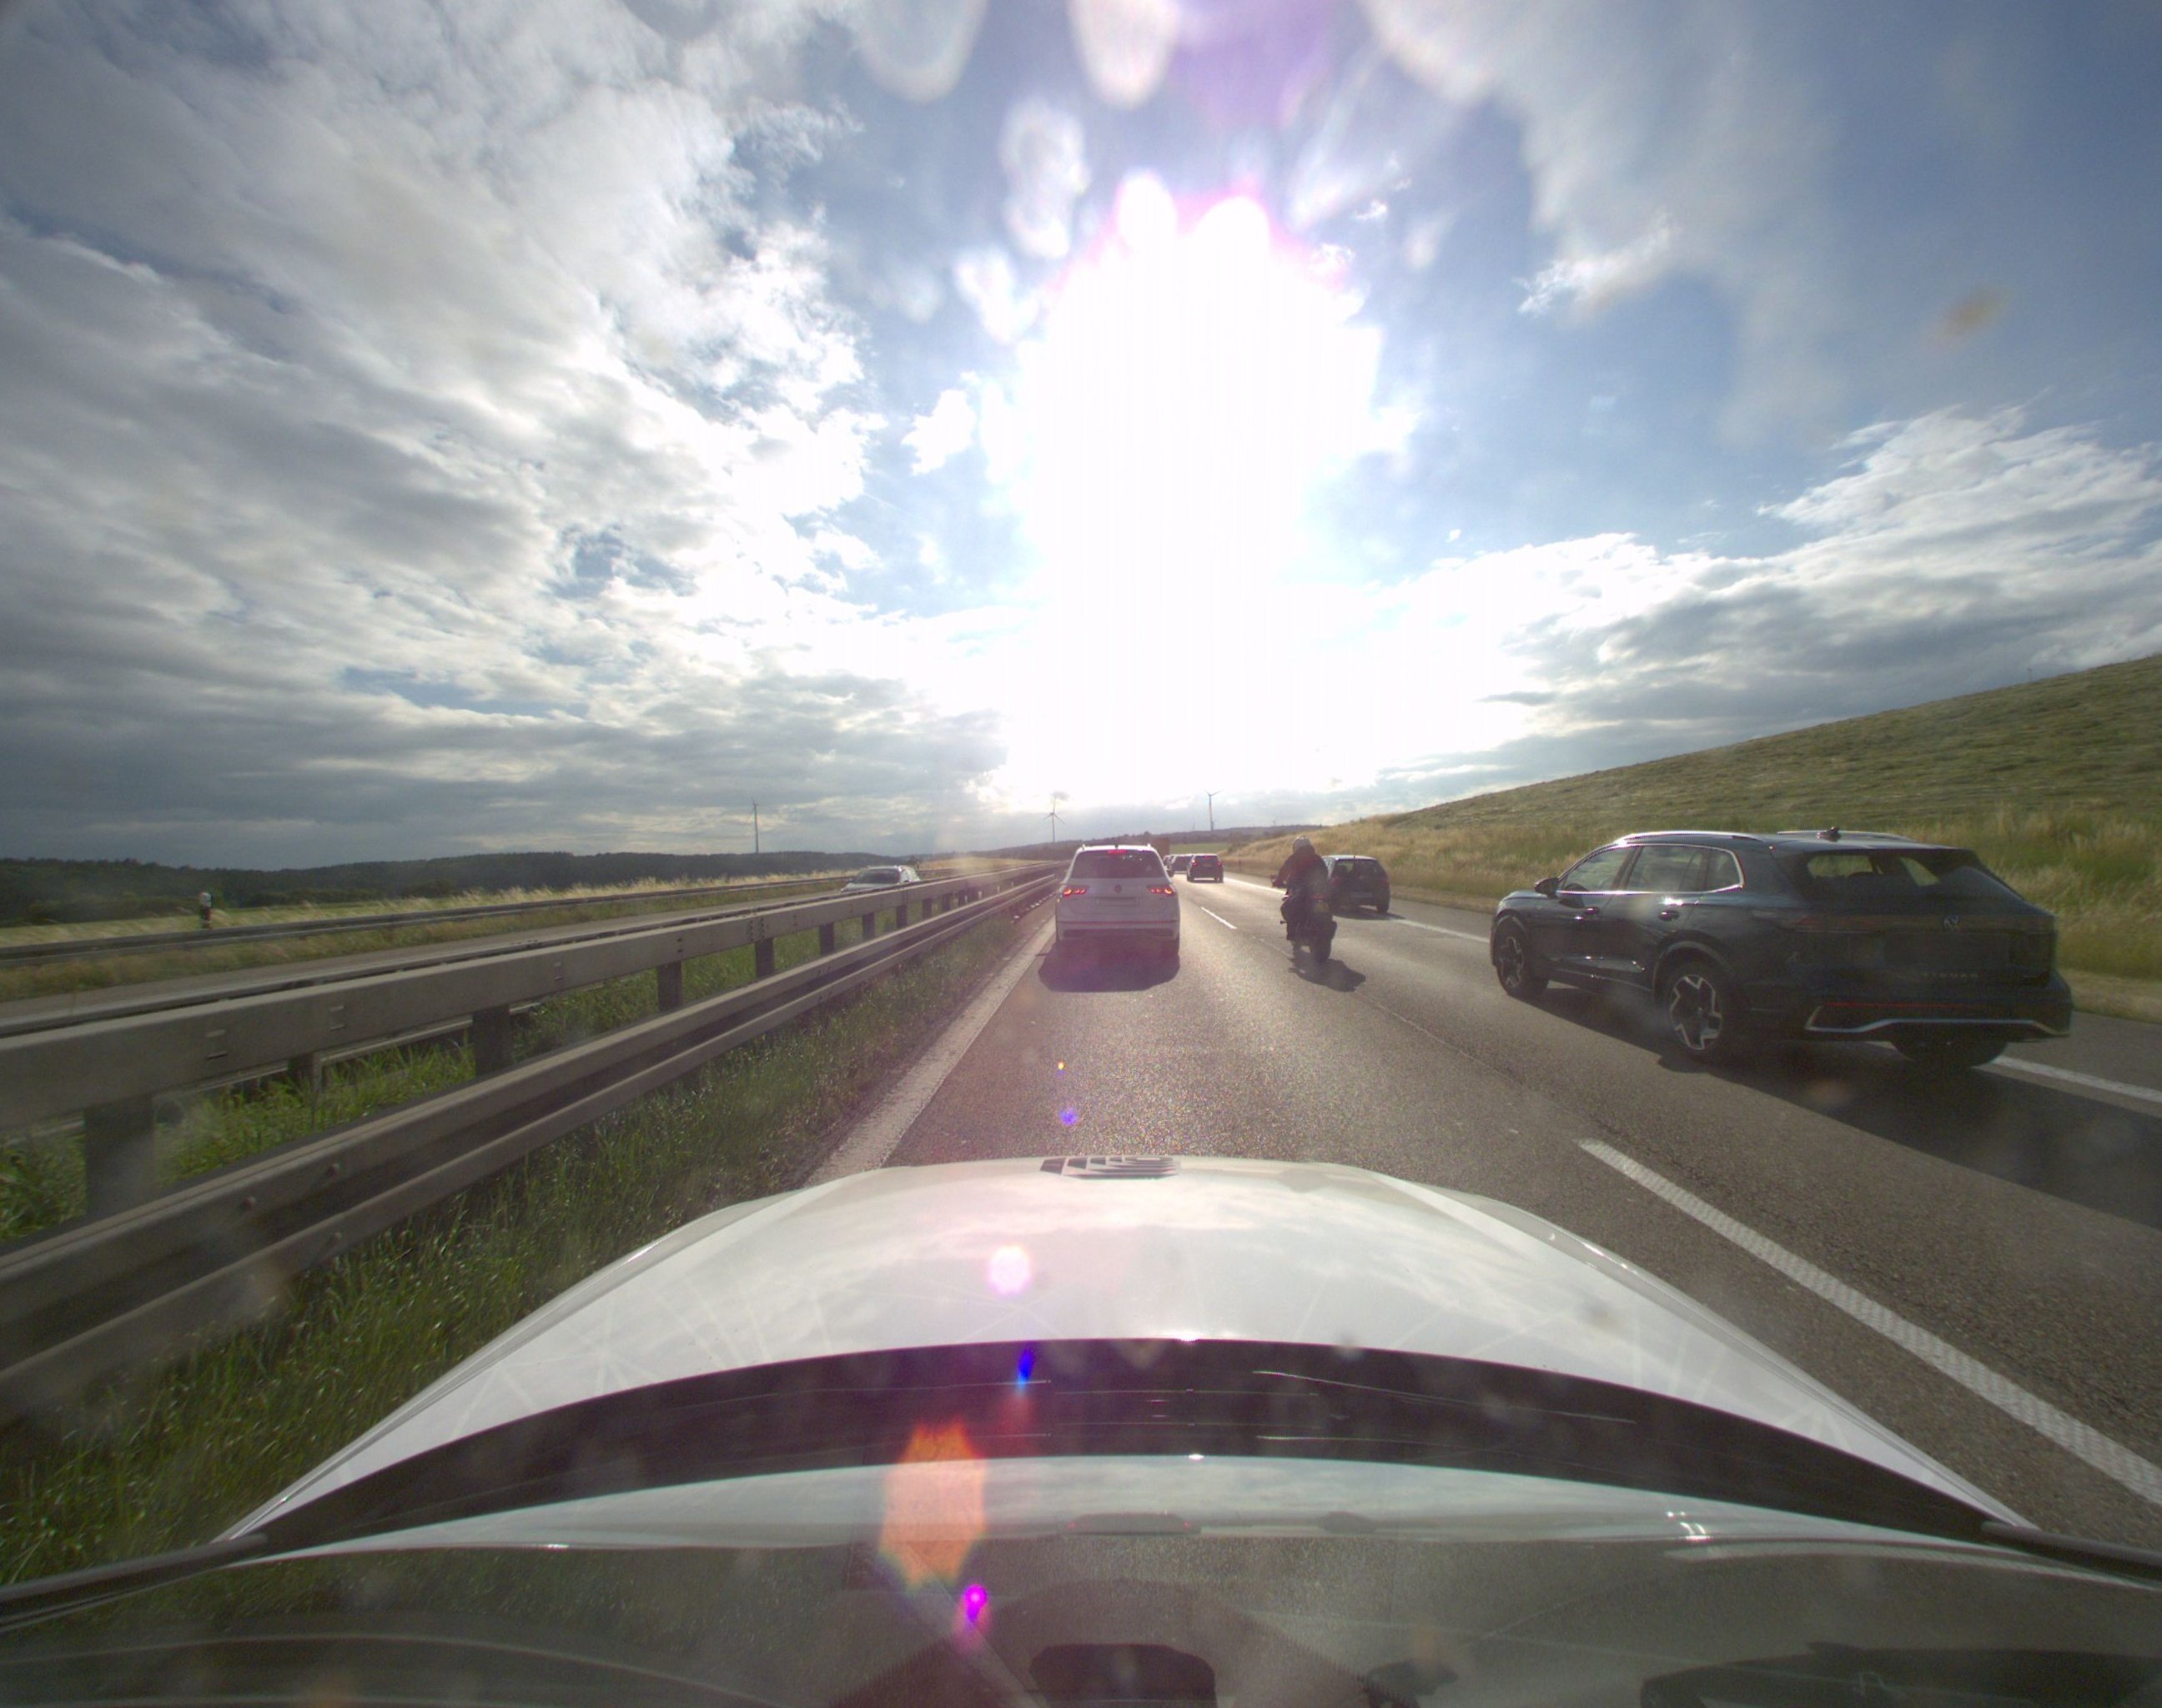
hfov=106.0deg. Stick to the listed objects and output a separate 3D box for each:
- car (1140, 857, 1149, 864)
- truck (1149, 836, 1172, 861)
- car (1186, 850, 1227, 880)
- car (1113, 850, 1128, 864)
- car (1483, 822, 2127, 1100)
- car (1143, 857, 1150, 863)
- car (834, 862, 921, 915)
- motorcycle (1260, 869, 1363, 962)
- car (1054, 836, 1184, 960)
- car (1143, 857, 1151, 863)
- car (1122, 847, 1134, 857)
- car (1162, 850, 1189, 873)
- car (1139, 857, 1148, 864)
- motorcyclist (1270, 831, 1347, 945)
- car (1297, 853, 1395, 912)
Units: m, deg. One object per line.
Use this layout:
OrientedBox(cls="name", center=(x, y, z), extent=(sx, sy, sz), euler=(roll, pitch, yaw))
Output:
OrientedBox(cls="car", center=(14.081, 1.372, 180.974), extent=(1.697, 1.546, 4.002), euler=(-1, 0, 2))
OrientedBox(cls="truck", center=(11.980, -0.857, 123.635), extent=(3.170, 3.593, 11.143), euler=(-1, 0, 4))
OrientedBox(cls="car", center=(6.682, 0.574, 43.799), extent=(1.697, 1.546, 4.002), euler=(-1, 0, 2))
OrientedBox(cls="car", center=(4.796, 0.380, 98.622), extent=(1.697, 1.650, 4.002), euler=(-1, 0, 2))
OrientedBox(cls="car", center=(5.267, 0.633, 6.876), extent=(1.814, 1.601, 4.237), euler=(1, 0, 2))
OrientedBox(cls="car", center=(16.761, 1.499, 207.790), extent=(1.697, 1.546, 4.002), euler=(-1, 0, 2))
OrientedBox(cls="car", center=(-6.366, 1.029, 25.903), extent=(1.591, 1.515, 4.161), euler=(-1, 0, 2))
OrientedBox(cls="motorcycle", center=(3.277, 0.829, 11.827), extent=(0.892, 1.190, 2.257), euler=(-1, 0, 2))
OrientedBox(cls="car", center=(0.598, 0.621, 13.206), extent=(1.763, 1.675, 4.002), euler=(-1, 0, 2))
OrientedBox(cls="car", center=(16.347, 1.464, 201.360), extent=(1.697, 1.546, 4.002), euler=(-1, 0, 2))
OrientedBox(cls="car", center=(7.435, -0.243, 128.579), extent=(1.697, 1.546, 4.002), euler=(-1, 0, 2))
OrientedBox(cls="car", center=(7.095, 0.595, 61.441), extent=(1.697, 1.650, 4.002), euler=(-1, 0, 2))
OrientedBox(cls="car", center=(13.141, 1.321, 170.620), extent=(1.697, 1.546, 4.002), euler=(-1, 0, 2))
OrientedBox(cls="motorcyclist", center=(3.272, 0.476, 11.786), extent=(0.846, 1.560, 0.934), euler=(-1, -1, 1))
OrientedBox(cls="car", center=(6.954, 0.709, 21.700), extent=(1.599, 1.420, 3.675), euler=(-1, 0, 3))
